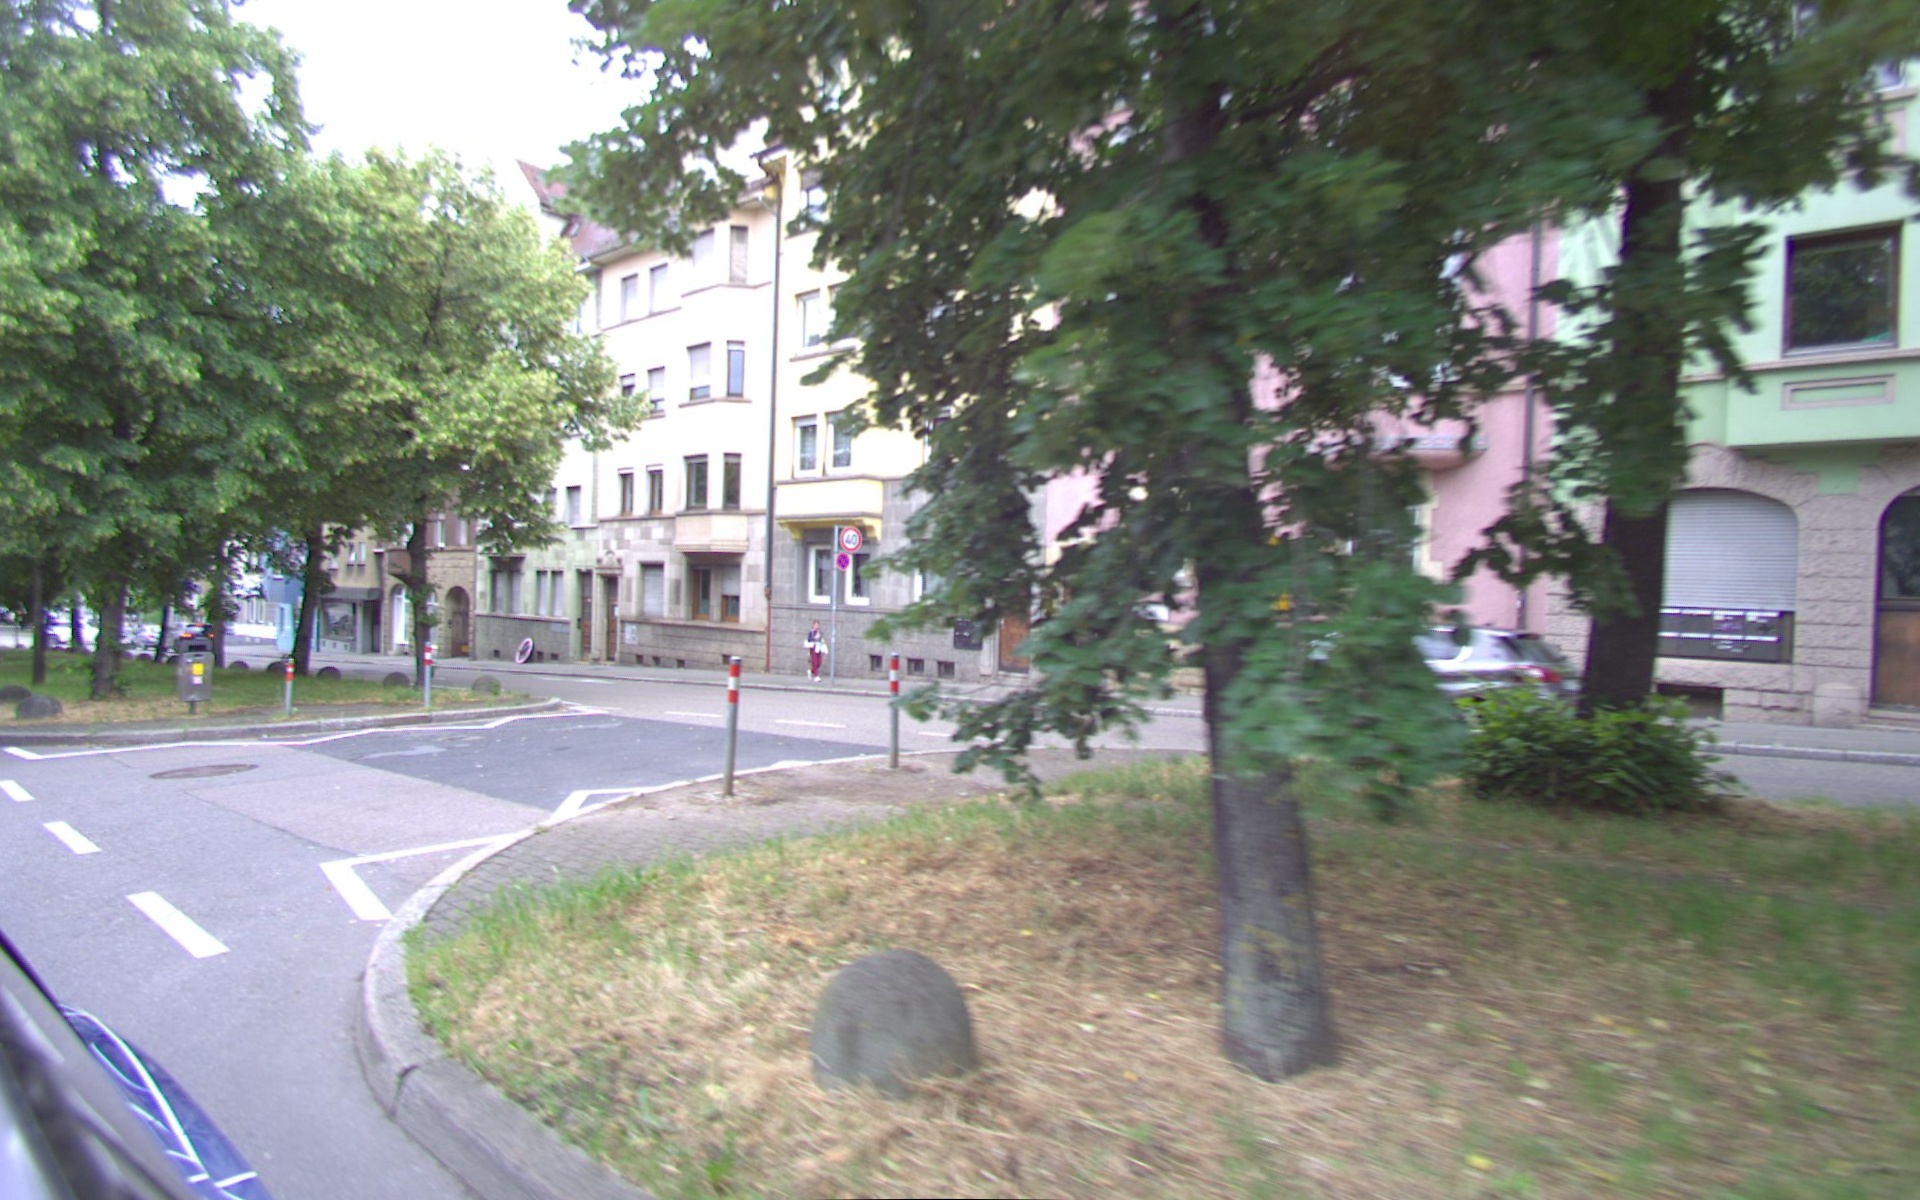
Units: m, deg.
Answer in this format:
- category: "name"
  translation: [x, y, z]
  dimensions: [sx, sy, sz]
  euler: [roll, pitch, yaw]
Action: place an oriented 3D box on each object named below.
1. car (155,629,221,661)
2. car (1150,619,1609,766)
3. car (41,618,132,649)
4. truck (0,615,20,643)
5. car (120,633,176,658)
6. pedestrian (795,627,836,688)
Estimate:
- category: "car"
  translation: [-42.080, 2.437, 55.155]
  dimensions: [4.675, 1.649, 1.797]
  euler: [0, -3, 39]
- category: "car"
  translation: [4.703, 0.999, 11.860]
  dimensions: [4.666, 1.393, 1.690]
  euler: [-3, -4, 41]
- category: "car"
  translation: [-59.122, 2.234, 68.583]
  dimensions: [4.196, 2.029, 2.006]
  euler: [0, 1, -19]
- category: "truck"
  translation: [-93.963, 2.748, 96.280]
  dimensions: [2.739, 2.744, 6.443]
  euler: [-1, -2, 6]
- category: "car"
  translation: [-48.160, 2.696, 59.976]
  dimensions: [4.288, 1.417, 1.653]
  euler: [-2, -3, 38]
- category: "pedestrian"
  translation: [-3.598, 1.432, 25.243]
  dimensions: [0.704, 1.471, 0.691]
  euler: [-3, -2, 41]
